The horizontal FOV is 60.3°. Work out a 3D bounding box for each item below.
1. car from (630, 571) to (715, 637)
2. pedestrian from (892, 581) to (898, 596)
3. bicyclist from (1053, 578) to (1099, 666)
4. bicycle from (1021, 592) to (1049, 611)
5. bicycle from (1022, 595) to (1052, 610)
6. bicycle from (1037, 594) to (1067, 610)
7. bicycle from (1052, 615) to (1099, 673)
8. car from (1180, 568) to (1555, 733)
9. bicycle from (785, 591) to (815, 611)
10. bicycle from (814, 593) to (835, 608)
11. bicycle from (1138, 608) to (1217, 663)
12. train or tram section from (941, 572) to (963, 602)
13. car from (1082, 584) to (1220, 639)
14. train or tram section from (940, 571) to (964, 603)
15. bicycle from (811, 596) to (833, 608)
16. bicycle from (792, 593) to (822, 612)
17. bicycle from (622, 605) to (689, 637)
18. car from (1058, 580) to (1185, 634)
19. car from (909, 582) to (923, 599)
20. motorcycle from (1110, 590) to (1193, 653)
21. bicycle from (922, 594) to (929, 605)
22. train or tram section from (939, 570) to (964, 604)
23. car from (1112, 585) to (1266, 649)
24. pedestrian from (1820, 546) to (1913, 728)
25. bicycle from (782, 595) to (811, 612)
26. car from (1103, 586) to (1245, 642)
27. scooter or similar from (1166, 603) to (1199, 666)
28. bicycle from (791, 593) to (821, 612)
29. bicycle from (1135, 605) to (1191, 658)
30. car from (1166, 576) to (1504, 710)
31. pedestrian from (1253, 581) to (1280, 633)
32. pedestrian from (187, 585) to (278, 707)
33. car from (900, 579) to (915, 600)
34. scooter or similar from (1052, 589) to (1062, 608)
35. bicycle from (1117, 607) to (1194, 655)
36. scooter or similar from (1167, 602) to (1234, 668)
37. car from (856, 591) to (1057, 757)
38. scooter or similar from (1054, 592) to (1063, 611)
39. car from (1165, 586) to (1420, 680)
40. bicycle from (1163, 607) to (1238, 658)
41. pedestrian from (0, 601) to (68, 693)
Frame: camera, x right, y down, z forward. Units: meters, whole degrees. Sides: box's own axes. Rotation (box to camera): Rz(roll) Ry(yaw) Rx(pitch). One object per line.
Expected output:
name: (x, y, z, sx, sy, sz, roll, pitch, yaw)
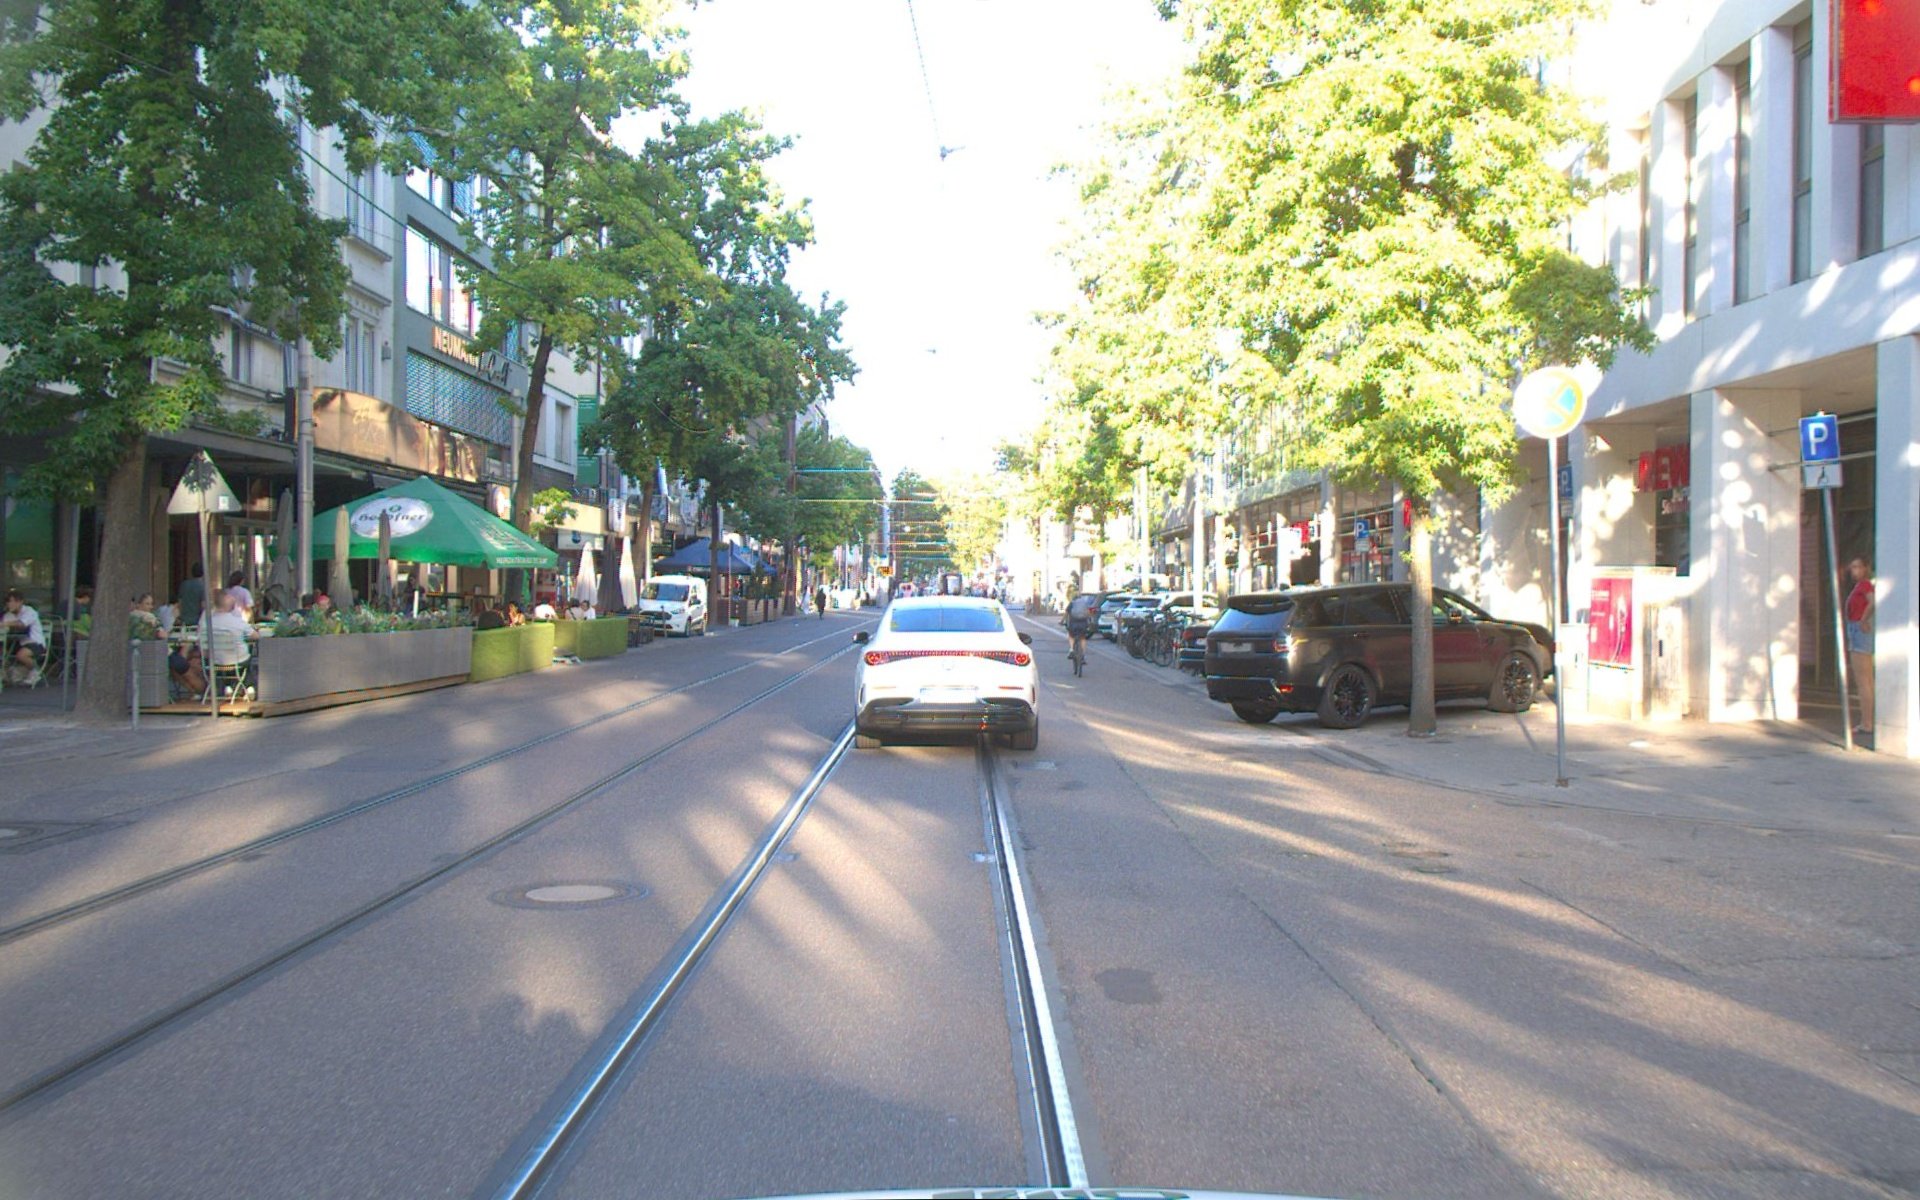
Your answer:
car: (-9.043, 0.098, 52.356, 1.759, 1.897, 4.554, 3, 0, 1)
pedestrian: (-7.268, -1.311, 185.087, 0.646, 1.627, 0.573, 0, 0, -1)
bicyclist: (2.230, 0.412, 31.718, 0.761, 1.641, 0.913, 2, 0, 9)
bicycle: (5.322, 0.085, 116.832, 1.874, 1.303, 0.608, -2, 0, -12)
bicycle: (5.553, 0.183, 119.818, 2.076, 1.115, 0.608, 1, 0, -12)
bicycle: (6.645, 0.162, 119.155, 2.077, 1.115, 0.608, 0, 0, -13)
bicycle: (2.228, 0.824, 31.803, 0.703, 1.012, 2.060, 2, 1, 9)
car: (5.301, 0.584, 21.384, 4.602, 1.794, 1.975, -3, 0, -30)
bicycle: (-9.968, 0.053, 103.297, 1.808, 1.160, 0.377, 2, 0, 1)
bicycle: (-9.724, 0.012, 118.810, 1.465, 1.047, 0.344, 2, 0, -10)
bicycle: (4.929, 0.794, 37.503, 1.542, 1.107, 0.861, -3, 2, -31)
train or tram section: (-0.923, -1.528, 201.743, 2.639, 3.578, 11.142, 0, 0, 0)
car: (6.242, 0.365, 53.955, 4.194, 1.615, 1.864, -2, 0, -32)
train or tram section: (-0.910, -1.456, 189.903, 2.639, 3.578, 12.544, 0, 0, 0)
bicycle: (-9.750, 0.163, 116.670, 1.462, 0.797, 0.345, 2, 0, 1)
bicycle: (-9.155, 0.160, 99.096, 1.754, 1.096, 0.377, 2, 0, -4)
bicycle: (-9.015, 0.628, 49.031, 0.821, 0.880, 1.852, 3, 1, 38)
car: (5.687, 0.238, 58.028, 4.300, 1.681, 1.676, -2, 0, -32)
car: (-6.564, -1.474, 246.567, 1.870, 2.504, 5.275, 0, 0, 0)
motorcycle: (5.021, 0.551, 43.267, 2.301, 1.536, 0.845, -2, 0, -44)
bicycle: (-3.860, -0.056, 184.207, 0.784, 1.162, 2.256, 2, 0, -1)
train or tram section: (-0.904, -1.375, 177.350, 2.639, 3.578, 12.544, 0, 0, 0)
car: (6.451, 0.452, 46.486, 4.109, 1.598, 1.833, -2, 1, -34)
pedestrian: (9.477, 0.383, 17.284, 0.740, 1.850, 0.801, -3, -1, 33)
bicycle: (-9.485, 0.180, 95.886, 1.561, 0.947, 0.377, 2, 0, 6)
car: (6.622, 0.424, 51.181, 4.092, 1.525, 1.676, -2, 0, -24)
scooter or similar: (4.827, 0.738, 35.945, 0.441, 1.298, 1.306, -3, 0, -1)
bicycle: (-9.382, 0.160, 100.716, 1.810, 1.096, 0.377, 2, 0, -4)
bicycle: (4.879, 0.755, 39.751, 0.472, 1.183, 1.687, -3, 0, 39)
car: (5.554, 0.576, 24.479, 4.591, 1.684, 1.993, -2, 1, -24)
pedestrian: (9.971, 0.227, 53.853, 0.699, 1.652, 0.882, -1, 0, 1)
pedestrian: (-8.717, 0.535, 19.843, 0.675, 1.410, 0.807, 2, 0, 1)
car: (-7.204, -1.424, 227.941, 1.952, 2.948, 5.275, 0, 0, 0)
scooter or similar: (6.555, -0.095, 112.184, 0.518, 1.299, 0.658, -2, 0, -11)
bicycle: (4.927, 0.777, 41.700, 1.870, 1.139, 0.661, -2, 0, -30)
scooter or similar: (5.099, 0.737, 34.991, 1.290, 1.298, 0.558, -4, 0, -32)
car: (-0.039, 0.669, 17.245, 1.819, 1.481, 4.175, 1, 0, 0)
scooter or similar: (6.640, 0.098, 111.465, 0.482, 1.299, 0.658, -2, 0, -11)
car: (6.452, 0.593, 31.826, 5.006, 1.494, 1.952, -3, 0, -36)
bicycle: (5.749, 0.765, 39.472, 1.669, 1.125, 0.627, -3, 0, -27)
pedestrian: (-12.396, 0.620, 22.085, 0.541, 1.182, 0.687, 2, 0, 0)
